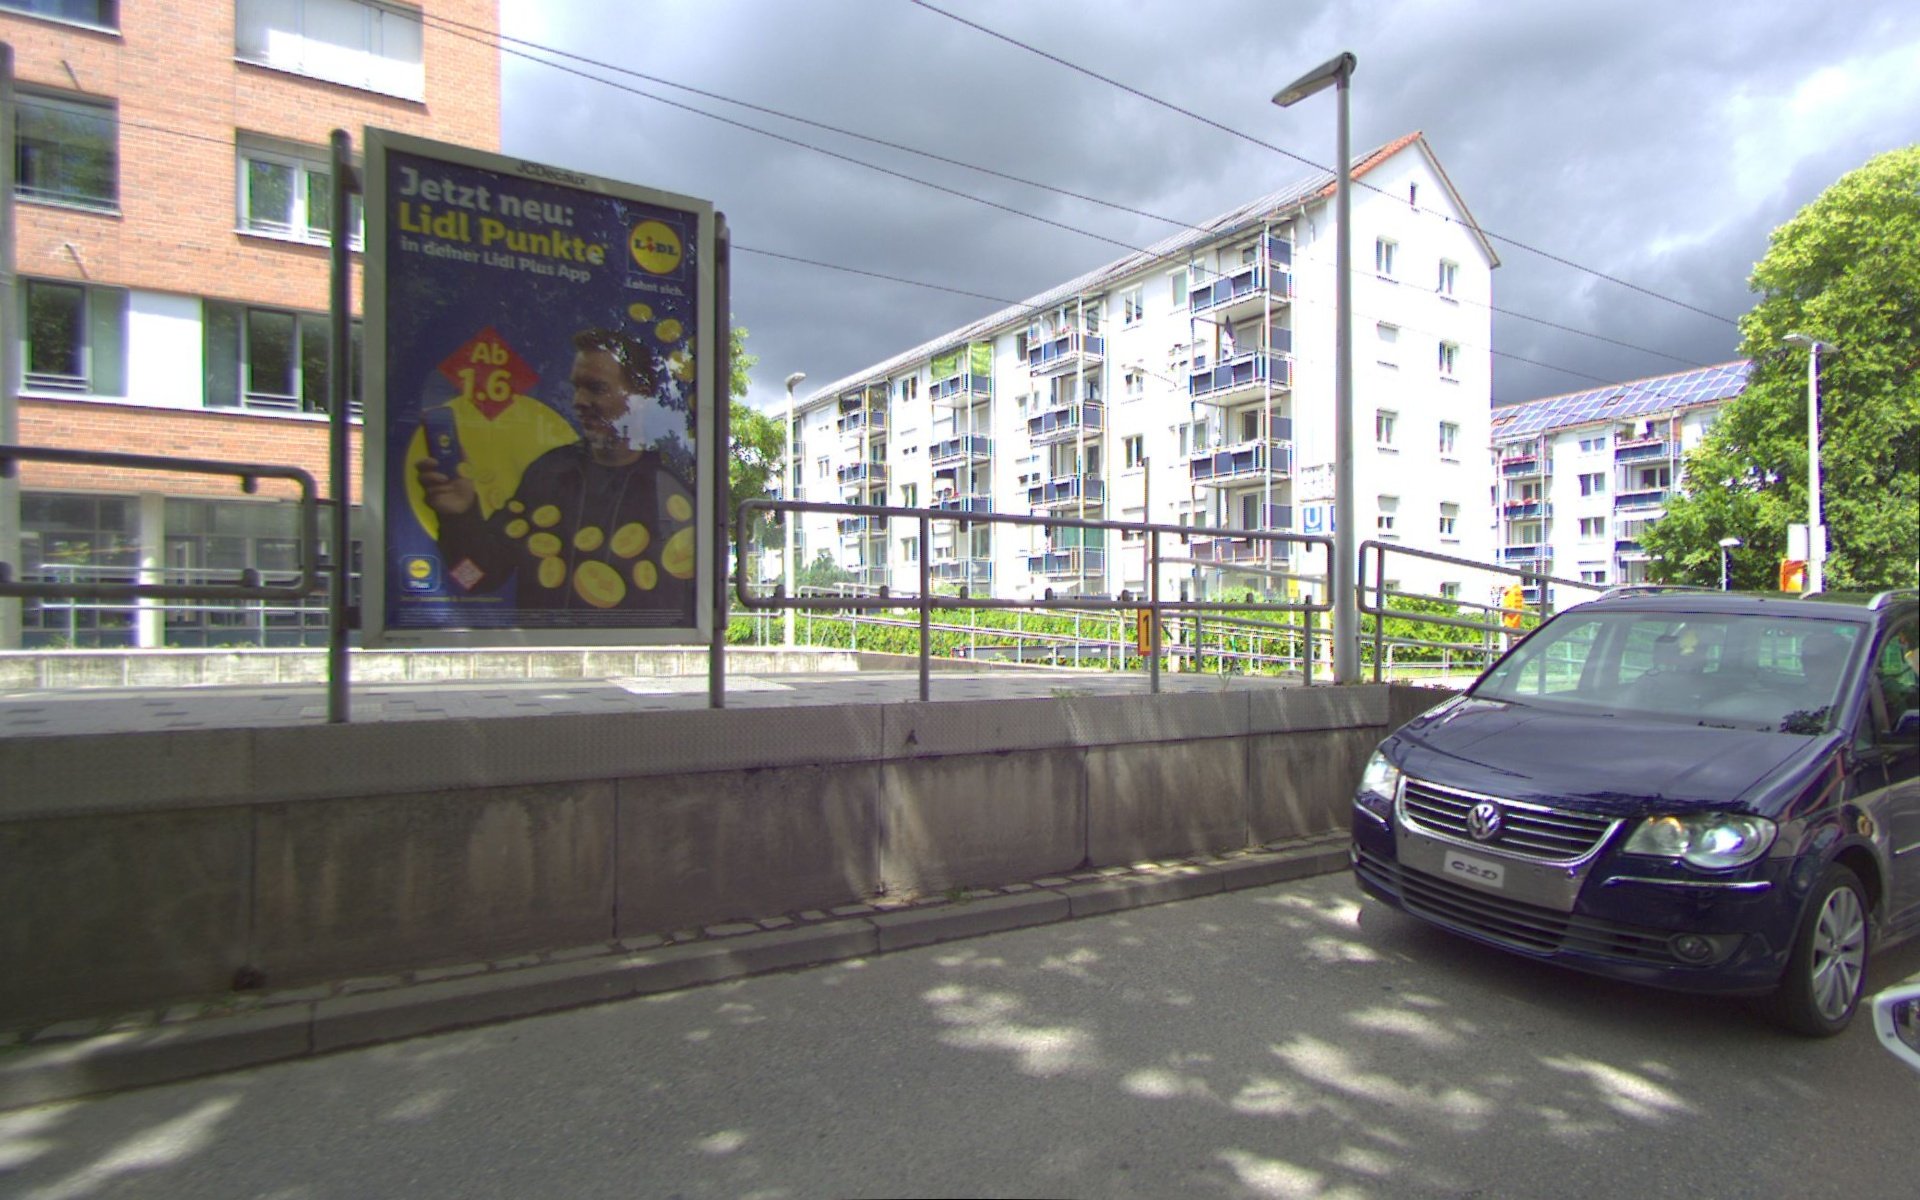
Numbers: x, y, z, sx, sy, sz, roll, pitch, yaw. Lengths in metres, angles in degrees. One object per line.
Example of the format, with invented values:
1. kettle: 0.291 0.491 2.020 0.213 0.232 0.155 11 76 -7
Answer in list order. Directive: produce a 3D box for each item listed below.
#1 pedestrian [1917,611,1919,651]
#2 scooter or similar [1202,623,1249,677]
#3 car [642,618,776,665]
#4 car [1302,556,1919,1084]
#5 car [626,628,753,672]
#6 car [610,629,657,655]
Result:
1. pedestrian: 39.857 1.281 41.171 0.857 1.647 0.728 1 0 -30
2. scooter or similar: 6.397 1.187 24.246 0.458 1.270 1.295 0 -1 -20
3. car: -8.128 1.337 32.560 3.949 1.445 1.837 1 -2 -27
4. car: 3.782 0.720 4.957 4.072 1.655 1.744 1 0 -31
5. car: -9.369 1.688 34.802 3.949 1.445 1.837 1 -2 -27
6. car: -20.060 2.532 61.601 1.915 1.505 3.968 1 -1 -30
